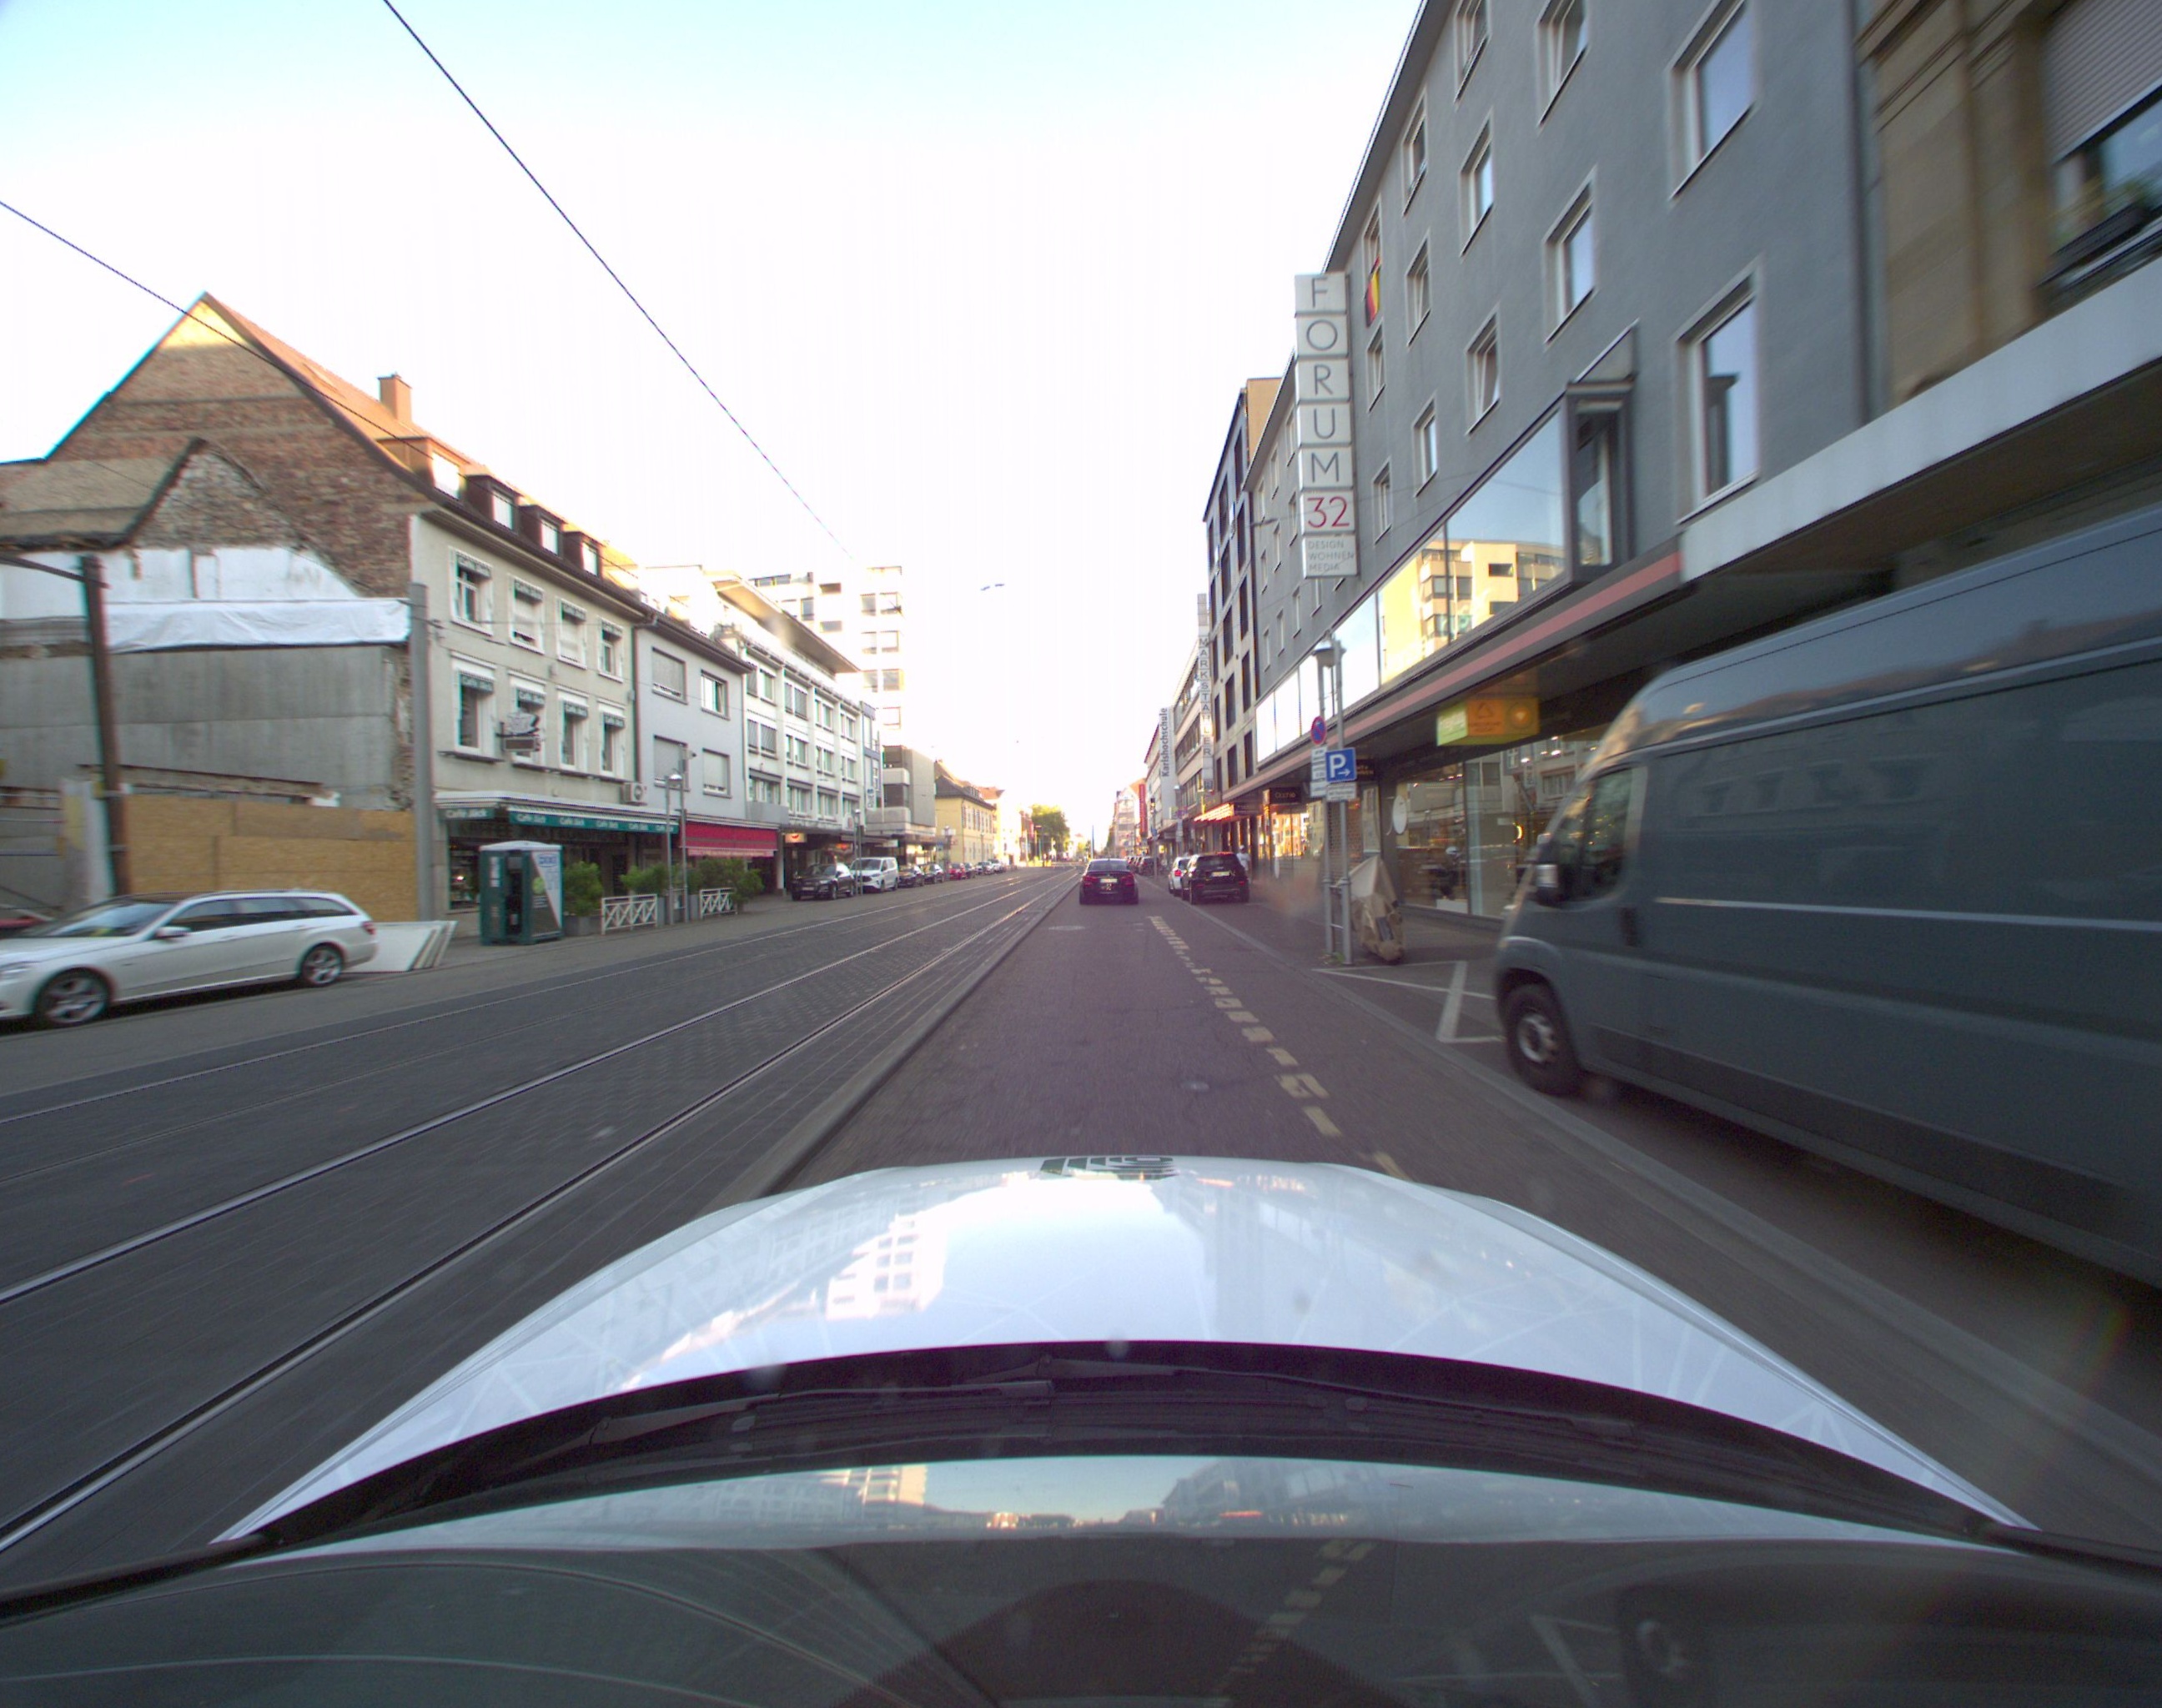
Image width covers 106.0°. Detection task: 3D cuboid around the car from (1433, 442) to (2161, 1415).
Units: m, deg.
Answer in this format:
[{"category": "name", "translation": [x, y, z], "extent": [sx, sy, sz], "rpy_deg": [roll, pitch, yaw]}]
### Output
[{"category": "car", "translation": [3.727, 0.160, 3.433], "extent": [2.027, 2.455, 5.408], "rpy_deg": [-4, 0, 0]}]

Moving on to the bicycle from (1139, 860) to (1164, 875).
[{"category": "bicycle", "translation": [5.252, 1.014, 60.608], "extent": [1.854, 1.119, 0.469], "rpy_deg": [-2, -2, 2]}]

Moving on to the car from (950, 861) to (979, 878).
[{"category": "car", "translation": [-10.685, 1.430, 74.904], "extent": [1.921, 1.435, 4.247], "rpy_deg": [-1, 0, 2]}]

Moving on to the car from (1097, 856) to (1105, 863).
[{"category": "car", "translation": [5.369, 1.462, 220.078], "extent": [1.986, 1.838, 4.000], "rpy_deg": [-1, -3, 1]}]

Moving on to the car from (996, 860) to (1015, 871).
[{"category": "car", "translation": [-10.011, 1.511, 108.635], "extent": [1.921, 1.435, 4.247], "rpy_deg": [-1, 0, 2]}]

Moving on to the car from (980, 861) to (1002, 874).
[{"category": "car", "translation": [-10.346, 1.516, 94.186], "extent": [1.921, 1.435, 4.247], "rpy_deg": [-1, 0, 2]}]

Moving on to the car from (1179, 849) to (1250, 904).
[{"category": "car", "translation": [4.153, 0.667, 25.891], "extent": [1.648, 1.537, 3.886], "rpy_deg": [-3, 0, 1]}]

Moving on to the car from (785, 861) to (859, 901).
[{"category": "car", "translation": [-11.926, 1.211, 37.828], "extent": [1.853, 1.678, 4.466], "rpy_deg": [-1, 0, 2]}]

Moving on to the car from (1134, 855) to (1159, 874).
[{"category": "car", "translation": [5.678, 0.936, 70.821], "extent": [1.896, 1.549, 3.781], "rpy_deg": [-1, -1, 1]}]

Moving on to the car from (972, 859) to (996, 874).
[{"category": "car", "translation": [-10.447, 1.322, 88.378], "extent": [1.921, 1.435, 4.247], "rpy_deg": [-2, 0, 2]}]

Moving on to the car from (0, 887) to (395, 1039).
[{"category": "car", "translation": [-12.472, 1.300, 11.089], "extent": [1.985, 1.453, 4.825], "rpy_deg": [-2, 0, 3]}]

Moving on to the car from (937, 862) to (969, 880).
[{"category": "car", "translation": [-10.895, 1.392, 69.765], "extent": [1.921, 1.435, 4.247], "rpy_deg": [-1, 0, 2]}]

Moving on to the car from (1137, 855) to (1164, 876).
[{"category": "car", "translation": [5.402, 0.940, 63.917], "extent": [1.896, 1.549, 4.001], "rpy_deg": [-1, -1, 1]}]

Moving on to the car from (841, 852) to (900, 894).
[{"category": "car", "translation": [-11.673, 0.992, 45.507], "extent": [1.988, 2.156, 4.909], "rpy_deg": [-2, 0, -1]}]

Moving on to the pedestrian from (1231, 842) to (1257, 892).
[{"category": "pedestrian", "translation": [5.806, 0.457, 29.029], "extent": [0.686, 1.740, 0.821], "rpy_deg": [-4, -1, 3]}]

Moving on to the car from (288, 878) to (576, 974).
[{"category": "car", "translation": [-12.331, 1.282, 15.936], "extent": [1.985, 1.453, 4.333], "rpy_deg": [-2, 0, 3]}]

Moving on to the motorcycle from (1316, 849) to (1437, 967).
[{"category": "motorcycle", "translation": [4.010, 0.679, 11.264], "extent": [0.841, 1.419, 2.165], "rpy_deg": [-4, -1, 2]}]

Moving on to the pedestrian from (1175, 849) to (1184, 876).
[{"category": "pedestrian", "translation": [6.329, 0.530, 52.294], "extent": [0.473, 1.699, 0.753], "rpy_deg": [-2, 0, 5]}]

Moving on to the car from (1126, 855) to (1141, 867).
[{"category": "car", "translation": [6.901, 0.923, 107.167], "extent": [1.768, 1.549, 3.504], "rpy_deg": [-1, -1, 1]}]

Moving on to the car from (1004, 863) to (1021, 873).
[{"category": "car", "translation": [-9.873, 2.016, 117.539], "extent": [1.921, 1.435, 4.247], "rpy_deg": [-1, 0, 2]}]

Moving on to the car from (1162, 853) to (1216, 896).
[{"category": "car", "translation": [4.056, 0.742, 31.031], "extent": [1.554, 1.442, 3.710], "rpy_deg": [-4, 0, 1]}]

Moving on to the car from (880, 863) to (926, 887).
[{"category": "car", "translation": [-11.486, 1.340, 52.910], "extent": [1.921, 1.435, 4.247], "rpy_deg": [-1, 0, 2]}]

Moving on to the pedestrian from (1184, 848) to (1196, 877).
[{"category": "pedestrian", "translation": [6.716, 0.510, 50.230], "extent": [0.552, 1.791, 0.760], "rpy_deg": [-2, 0, 1]}]

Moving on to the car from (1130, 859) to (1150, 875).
[{"category": "car", "translation": [5.750, 1.278, 80.008], "extent": [1.768, 1.549, 3.504], "rpy_deg": [-1, -1, 1]}]

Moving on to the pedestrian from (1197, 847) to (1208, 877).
[{"category": "pedestrian", "translation": [7.429, 0.486, 49.913], "extent": [0.506, 1.792, 0.760], "rpy_deg": [-2, 0, 2]}]

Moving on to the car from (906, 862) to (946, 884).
[{"category": "car", "translation": [-11.329, 1.367, 59.819], "extent": [1.921, 1.435, 4.247], "rpy_deg": [-1, 0, 2]}]

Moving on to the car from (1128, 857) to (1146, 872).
[{"category": "car", "translation": [5.882, 1.116, 85.581], "extent": [1.768, 1.549, 3.504], "rpy_deg": [-1, -1, 1]}]

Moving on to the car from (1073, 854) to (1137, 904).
[{"category": "car", "translation": [0.858, 0.799, 27.242], "extent": [1.945, 1.498, 4.468], "rpy_deg": [-2, -1, 3]}]

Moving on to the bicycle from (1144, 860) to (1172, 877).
[{"category": "bicycle", "translation": [5.166, 0.997, 54.862], "extent": [1.854, 1.080, 0.469], "rpy_deg": [-2, -2, 2]}]

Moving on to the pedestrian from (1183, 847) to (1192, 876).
[{"category": "pedestrian", "translation": [6.809, 0.468, 52.256], "extent": [0.486, 1.790, 0.761], "rpy_deg": [-2, 0, 5]}]

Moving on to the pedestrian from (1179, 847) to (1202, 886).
[{"category": "pedestrian", "translation": [4.719, 0.539, 35.075], "extent": [0.561, 1.647, 0.751], "rpy_deg": [-2, -1, -40]}]

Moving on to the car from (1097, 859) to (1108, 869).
[{"category": "car", "translation": [3.394, 1.563, 129.267], "extent": [1.768, 1.549, 3.504], "rpy_deg": [-1, -1, 1]}]
